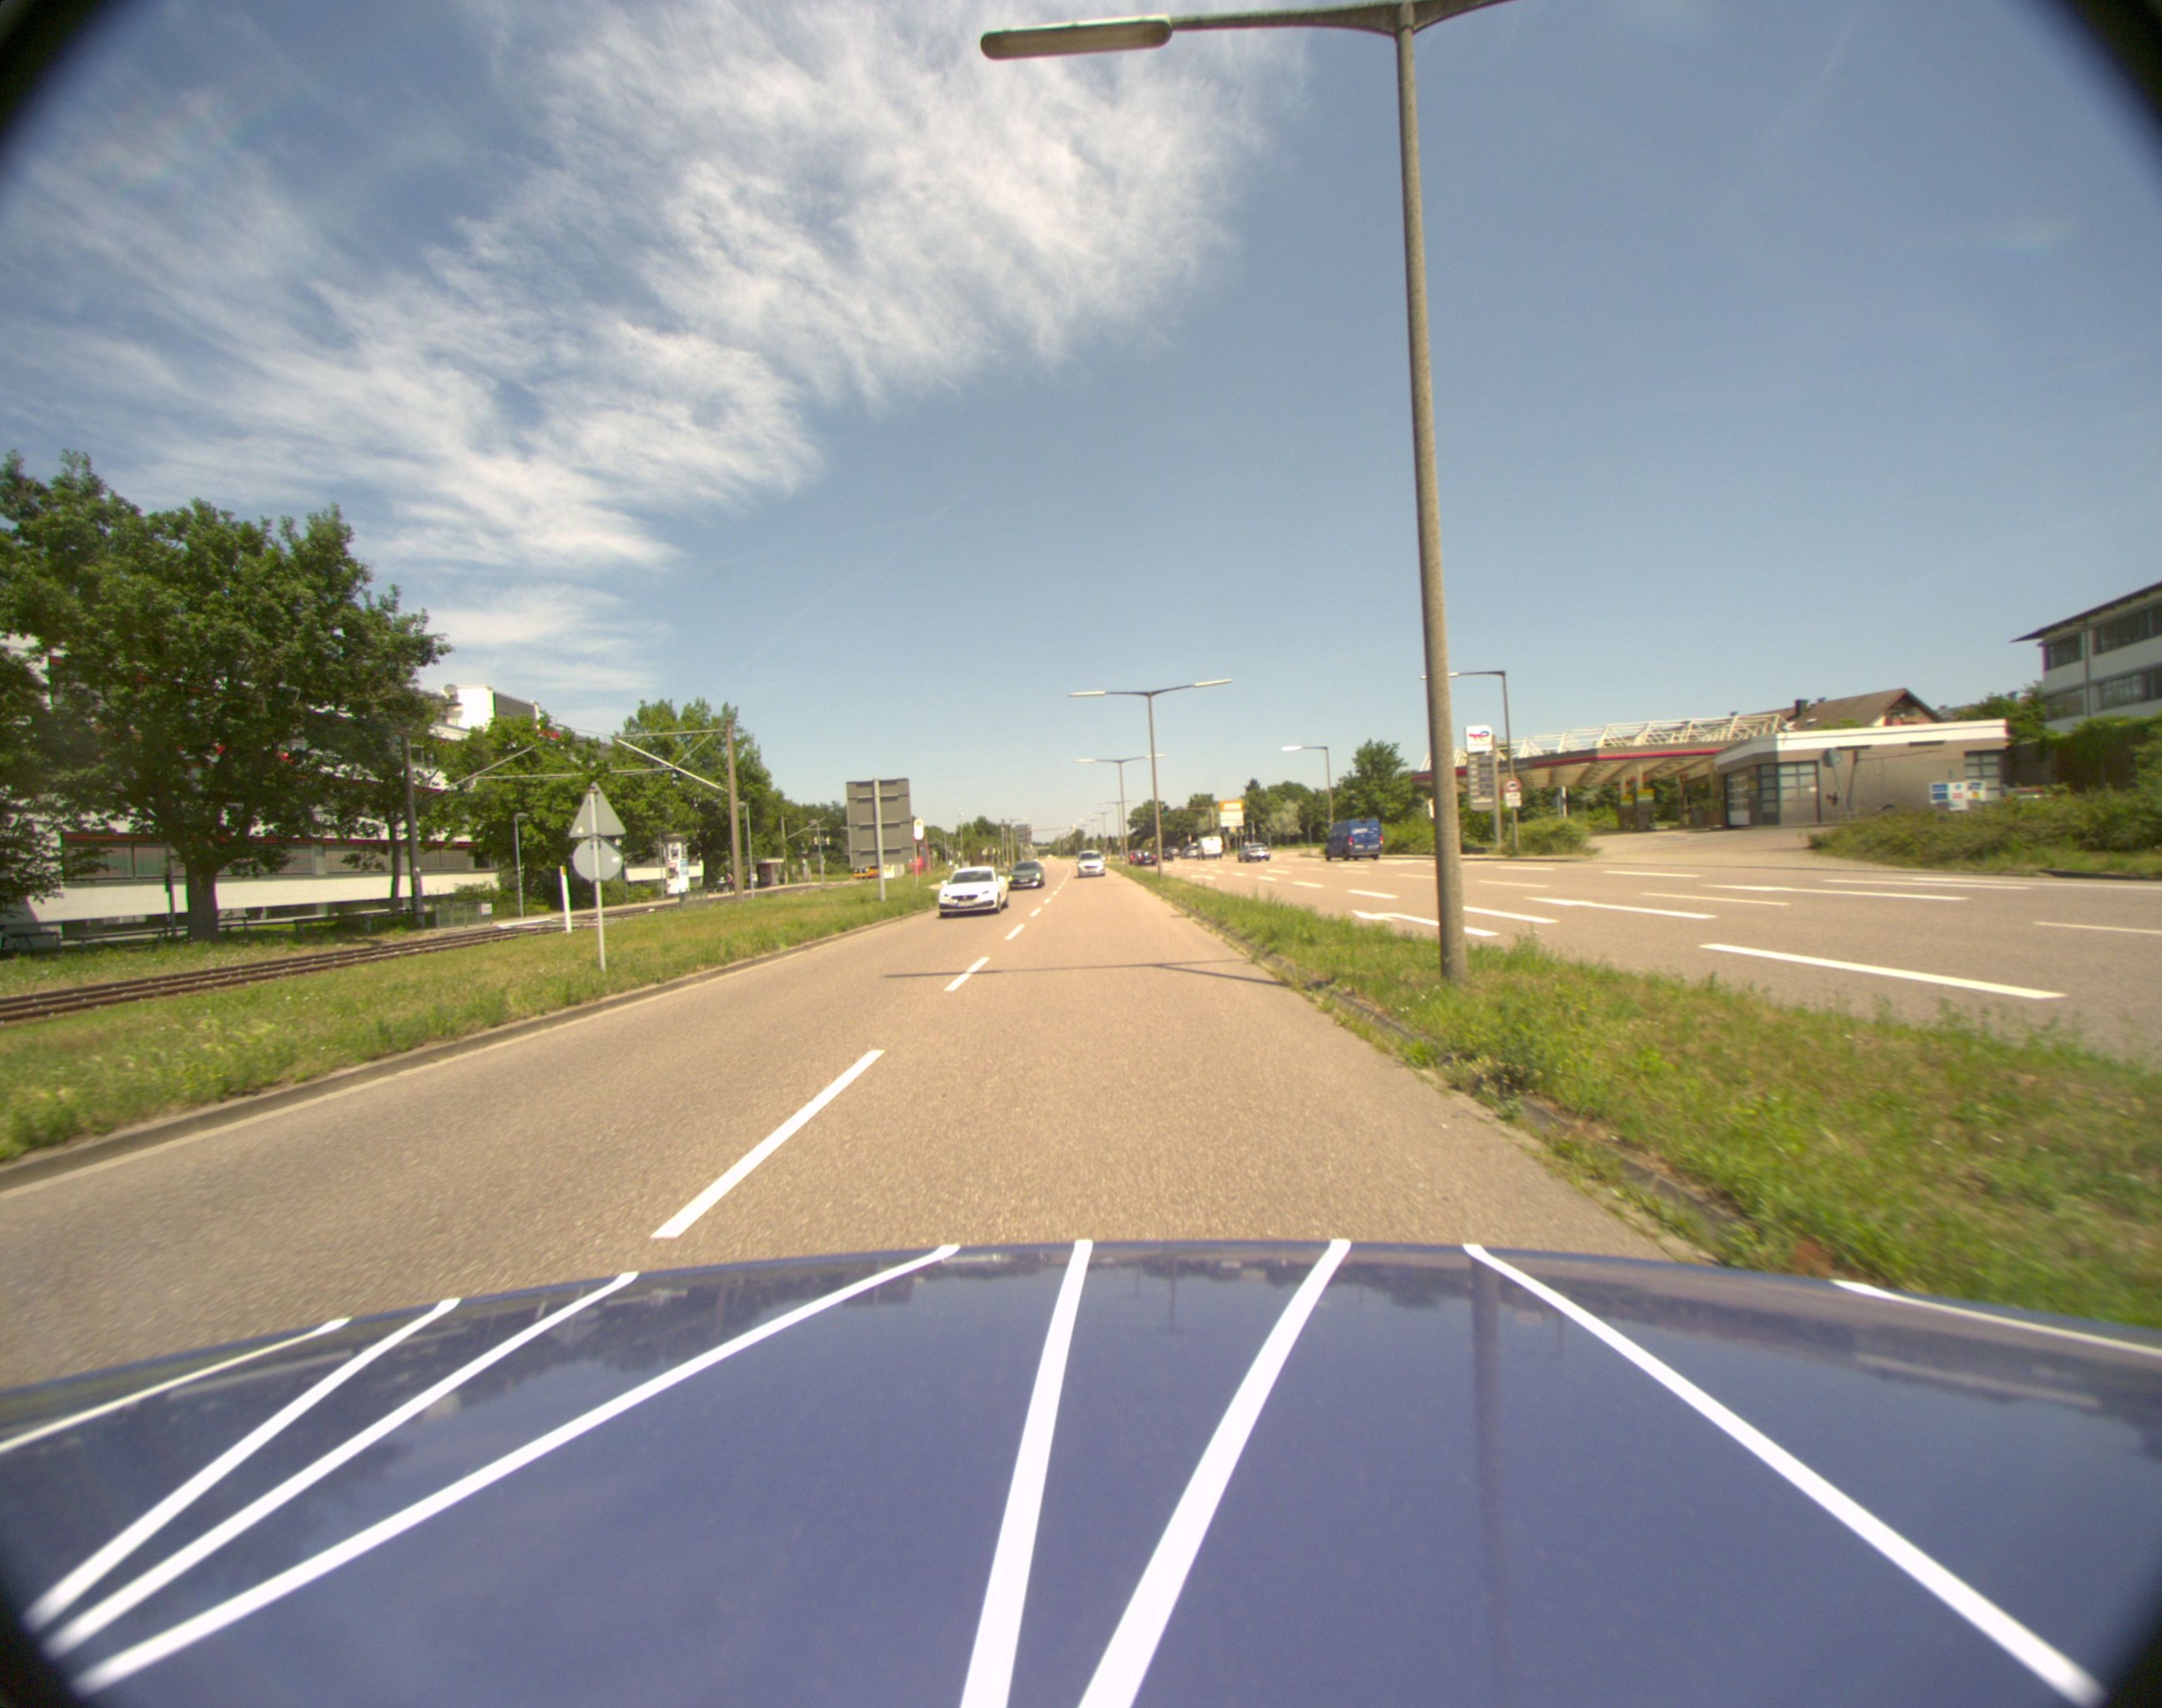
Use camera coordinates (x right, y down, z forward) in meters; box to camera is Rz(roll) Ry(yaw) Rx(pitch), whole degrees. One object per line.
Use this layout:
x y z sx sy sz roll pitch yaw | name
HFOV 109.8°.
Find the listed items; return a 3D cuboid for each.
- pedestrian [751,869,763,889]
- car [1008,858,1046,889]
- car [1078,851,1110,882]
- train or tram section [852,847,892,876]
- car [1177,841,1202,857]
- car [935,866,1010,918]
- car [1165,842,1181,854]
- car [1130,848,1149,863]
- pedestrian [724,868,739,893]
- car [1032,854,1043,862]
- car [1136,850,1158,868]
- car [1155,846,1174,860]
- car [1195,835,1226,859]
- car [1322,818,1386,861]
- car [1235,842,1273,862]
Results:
-26.752 2.036 62.776 0.553 1.599 0.690 -5 2 1 | pedestrian
-2.966 1.053 42.707 1.723 1.587 4.000 -3 0 1 | car
0.869 0.816 54.068 1.876 1.866 5.731 -6 0 -1 | car
-28.413 0.927 103.814 2.822 3.561 12.495 -3 0 -5 | train or tram section
13.184 -0.632 92.656 1.970 1.740 5.020 -7 1 -1 | car
-3.327 1.137 24.157 1.686 1.381 4.450 -2 0 0 | car
13.529 -0.901 111.586 1.663 1.530 3.999 -6 0 -2 | car
6.383 0.202 83.378 1.663 1.482 3.999 -4 0 -2 | car
-25.974 1.965 56.493 0.696 1.831 0.711 -5 2 -15 | pedestrian
-9.335 0.817 163.744 1.998 1.652 4.000 -3 0 1 | car
6.124 0.437 70.812 1.680 1.426 4.191 -4 0 0 | car
9.597 -0.163 87.510 1.735 1.449 4.564 -3 0 1 | car
13.665 -0.748 80.282 2.255 2.260 5.448 -5 1 1 | car
17.138 -0.860 48.064 2.178 2.397 5.672 -4 0 4 | car
13.742 -0.173 60.687 1.836 1.441 4.850 -3 0 -1 | car
